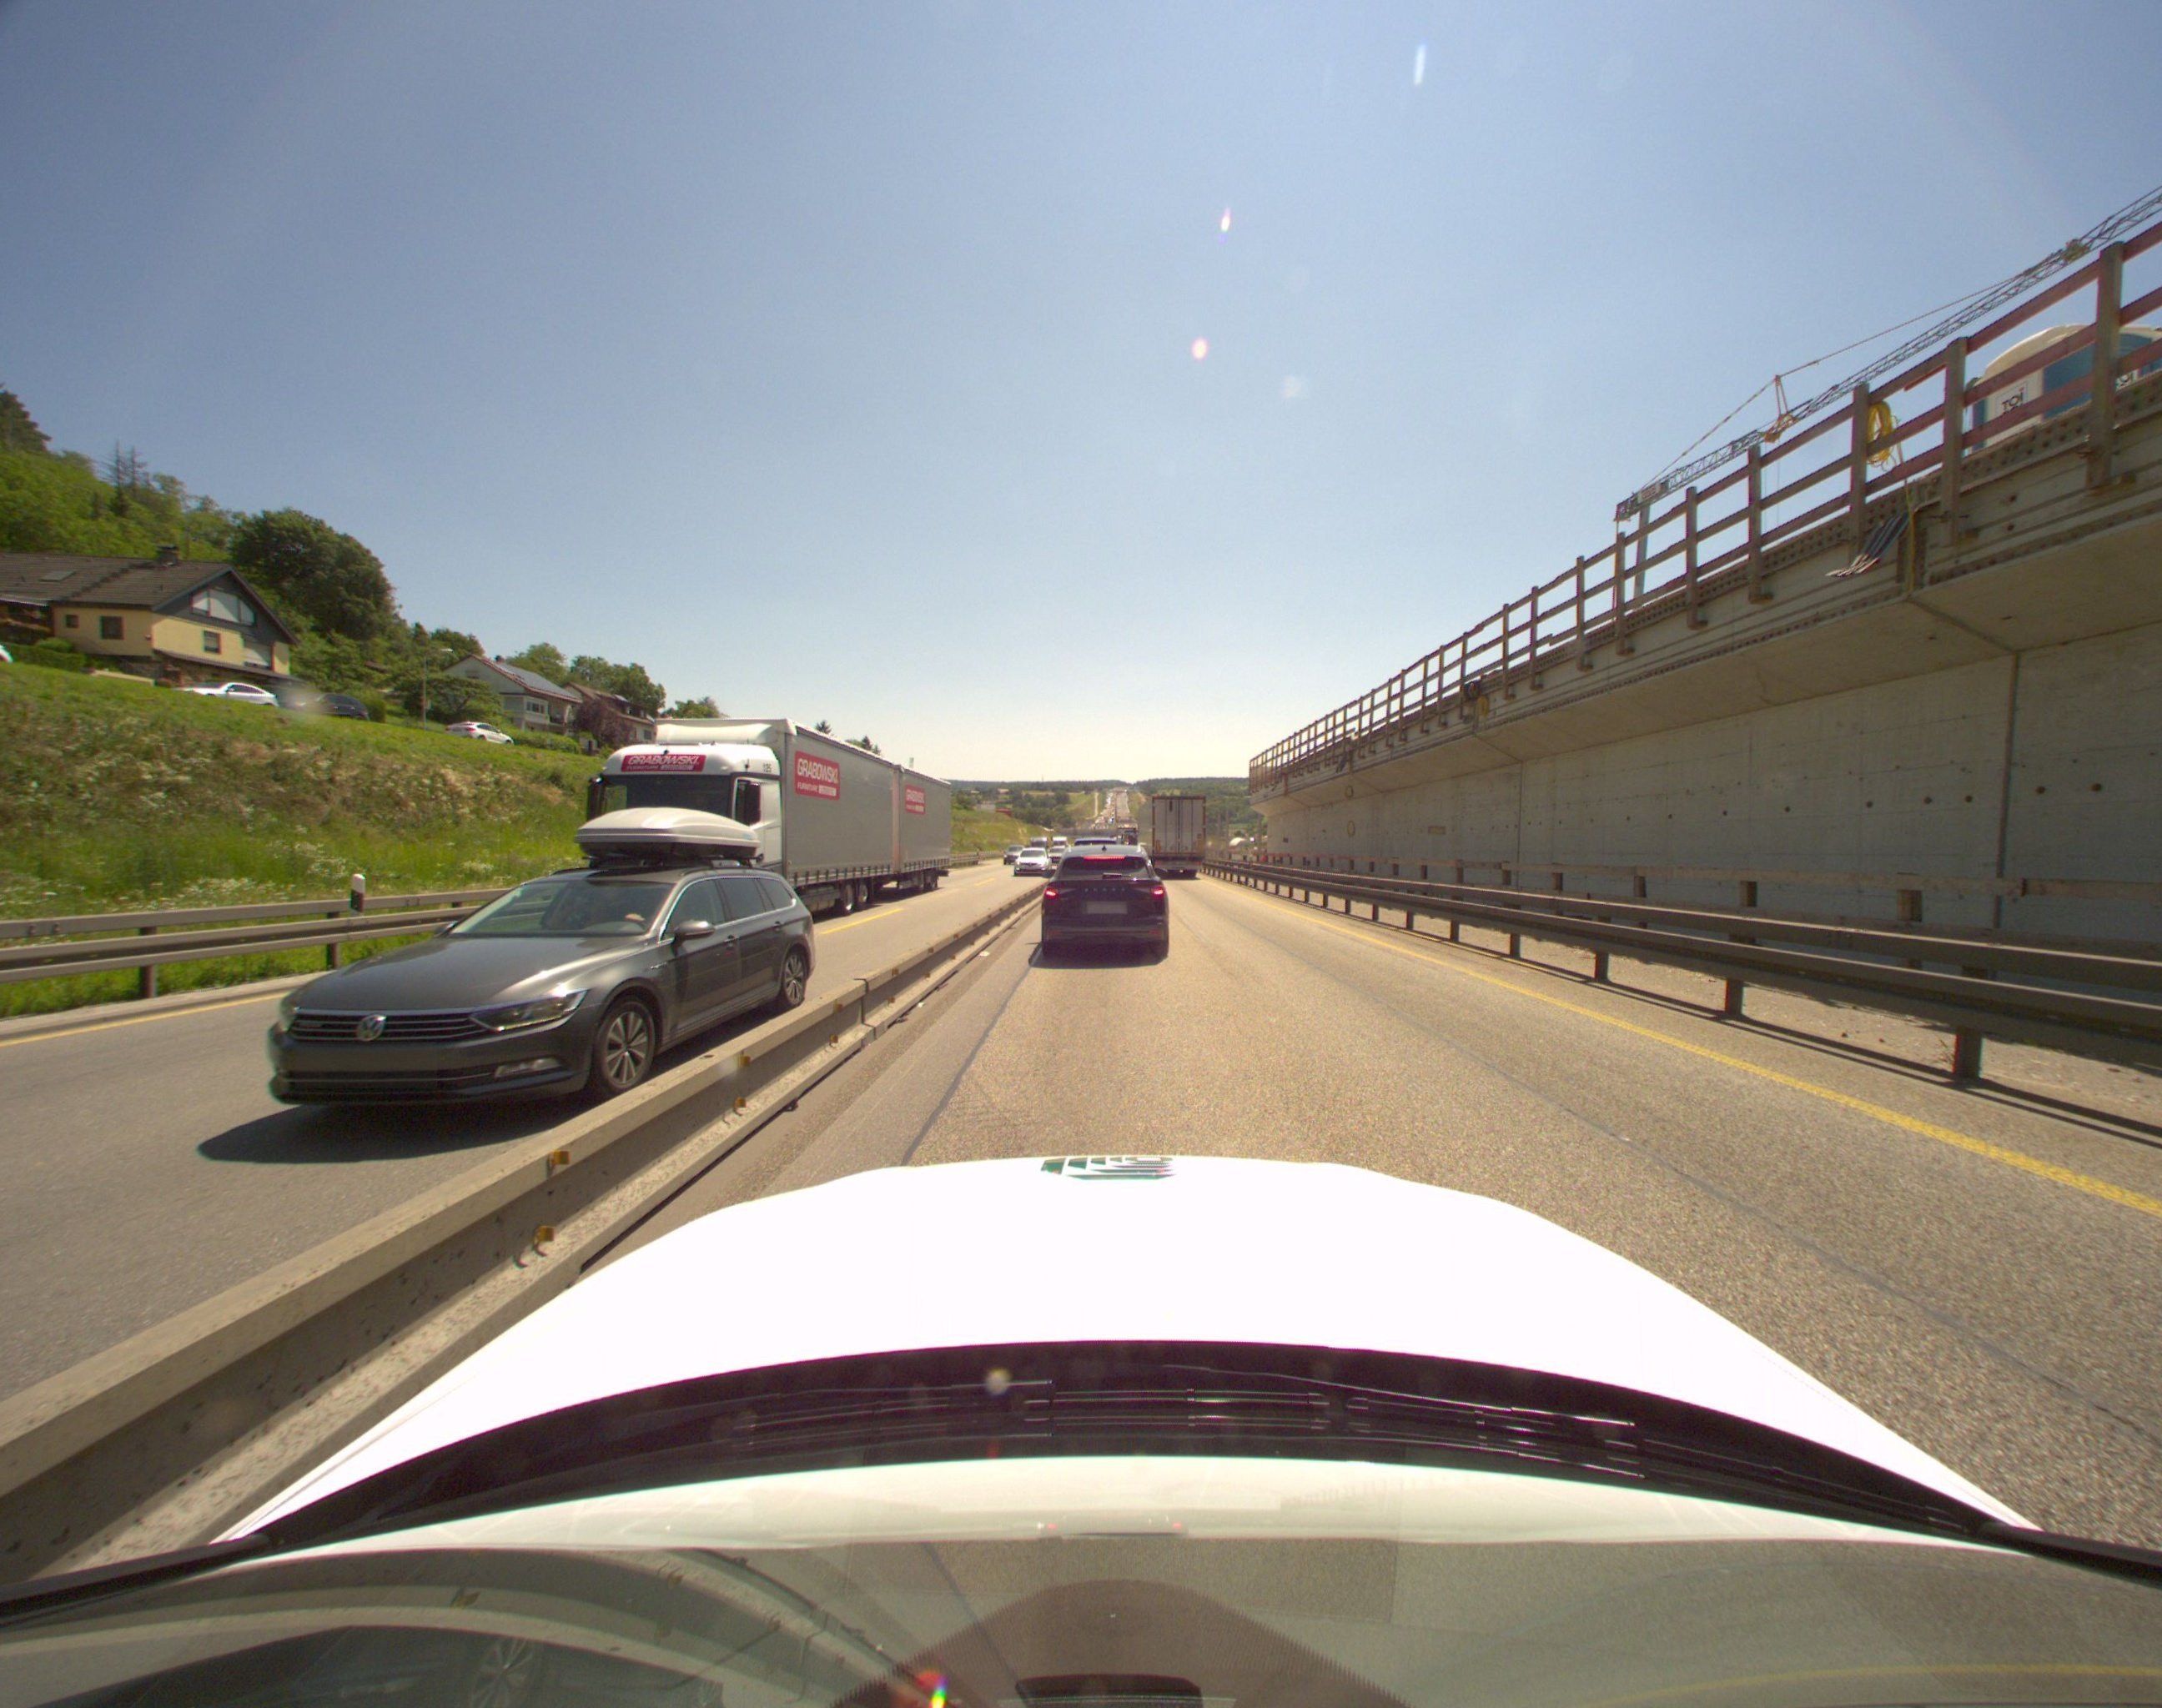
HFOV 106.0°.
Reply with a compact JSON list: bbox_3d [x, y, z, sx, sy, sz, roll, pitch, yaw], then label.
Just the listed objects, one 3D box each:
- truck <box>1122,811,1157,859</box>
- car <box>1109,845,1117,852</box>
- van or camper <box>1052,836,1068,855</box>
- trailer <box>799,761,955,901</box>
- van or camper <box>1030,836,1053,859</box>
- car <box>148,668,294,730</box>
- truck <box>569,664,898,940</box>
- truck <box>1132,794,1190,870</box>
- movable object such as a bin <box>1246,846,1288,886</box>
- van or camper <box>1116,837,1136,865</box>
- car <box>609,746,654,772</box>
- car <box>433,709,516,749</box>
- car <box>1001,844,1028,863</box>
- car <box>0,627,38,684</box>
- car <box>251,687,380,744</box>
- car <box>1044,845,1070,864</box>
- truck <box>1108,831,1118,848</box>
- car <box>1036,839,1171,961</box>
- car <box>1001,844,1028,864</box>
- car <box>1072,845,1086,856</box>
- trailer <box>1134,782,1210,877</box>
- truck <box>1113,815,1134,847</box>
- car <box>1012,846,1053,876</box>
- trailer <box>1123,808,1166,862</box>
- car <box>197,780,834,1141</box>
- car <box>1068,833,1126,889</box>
[{"bbox_3d":[5.841,-1.796,82.396,3.168,4.513,8.168,0,-1,2],"label":"truck"},{"bbox_3d":[7.411,-1.320,188.189,1.806,1.601,4.576,0,1,2],"label":"car"},{"bbox_3d":[-3.557,-1.392,136.990,2.282,3.066,6.927,0,1,2],"label":"van or camper"},{"bbox_3d":[-6.528,-0.668,27.731,2.918,3.988,8.709,0,0,1],"label":"trailer"},{"bbox_3d":[-4.556,-0.773,93.781,2.132,2.573,6.567,0,1,2],"label":"van or camper"},{"bbox_3d":[-38.175,-6.849,36.346,1.990,1.872,4.424,0,-1,-4],"label":"car"},{"bbox_3d":[-6.709,-0.837,18.165,2.611,4.396,10.389,0,0,2],"label":"truck"},{"bbox_3d":[4.959,-1.365,51.988,3.168,4.512,8.169,0,1,2],"label":"truck"},{"bbox_3d":[22.952,1.444,100.928,3.215,4.743,9.658,0,-1,1],"label":"movable object such as a bin"},{"bbox_3d":[5.479,-0.286,98.470,2.378,3.280,6.475,0,-1,4],"label":"van or camper"},{"bbox_3d":[-39.918,-8.414,72.434,1.990,1.794,3.993,0,-1,-5],"label":"car"},{"bbox_3d":[-39.523,-8.098,53.219,1.990,1.794,5.003,0,-1,-5],"label":"car"},{"bbox_3d":[-5.489,-0.030,67.558,1.987,1.474,3.999,0,-1,0],"label":"car"},{"bbox_3d":[-36.914,-6.745,25.870,1.992,1.656,4.540,0,-1,-8],"label":"car"},{"bbox_3d":[-38.756,-6.939,41.445,2.066,2.008,4.966,0,-1,-3],"label":"car"},{"bbox_3d":[-1.859,0.050,65.240,1.822,1.433,4.631,-1,0,1],"label":"car"},{"bbox_3d":[8.554,-3.839,217.425,2.630,4.193,9.287,0,-1,2],"label":"truck"},{"bbox_3d":[0.379,0.607,12.804,1.795,1.607,4.002,0,0,2],"label":"car"},{"bbox_3d":[-5.491,-0.022,67.740,1.766,1.582,4.287,1,0,2],"label":"car"},{"bbox_3d":[-0.308,-0.525,116.689,1.836,1.475,4.836,0,1,1],"label":"car"},{"bbox_3d":[4.785,-1.289,45.522,3.168,4.512,13.114,0,1,2],"label":"trailer"},{"bbox_3d":[6.382,-3.432,124.729,2.842,4.465,11.919,0,-1,1],"label":"truck"},{"bbox_3d":[-2.518,0.343,43.253,1.796,1.464,4.001,0,0,1],"label":"car"},{"bbox_3d":[5.678,-1.553,75.397,3.168,4.513,14.971,0,0,2],"label":"trailer"},{"bbox_3d":[-3.653,0.539,6.521,1.842,1.890,4.503,0,0,2],"label":"car"},{"bbox_3d":[0.597,0.260,30.180,1.986,1.926,4.509,0,-1,1],"label":"car"}]
